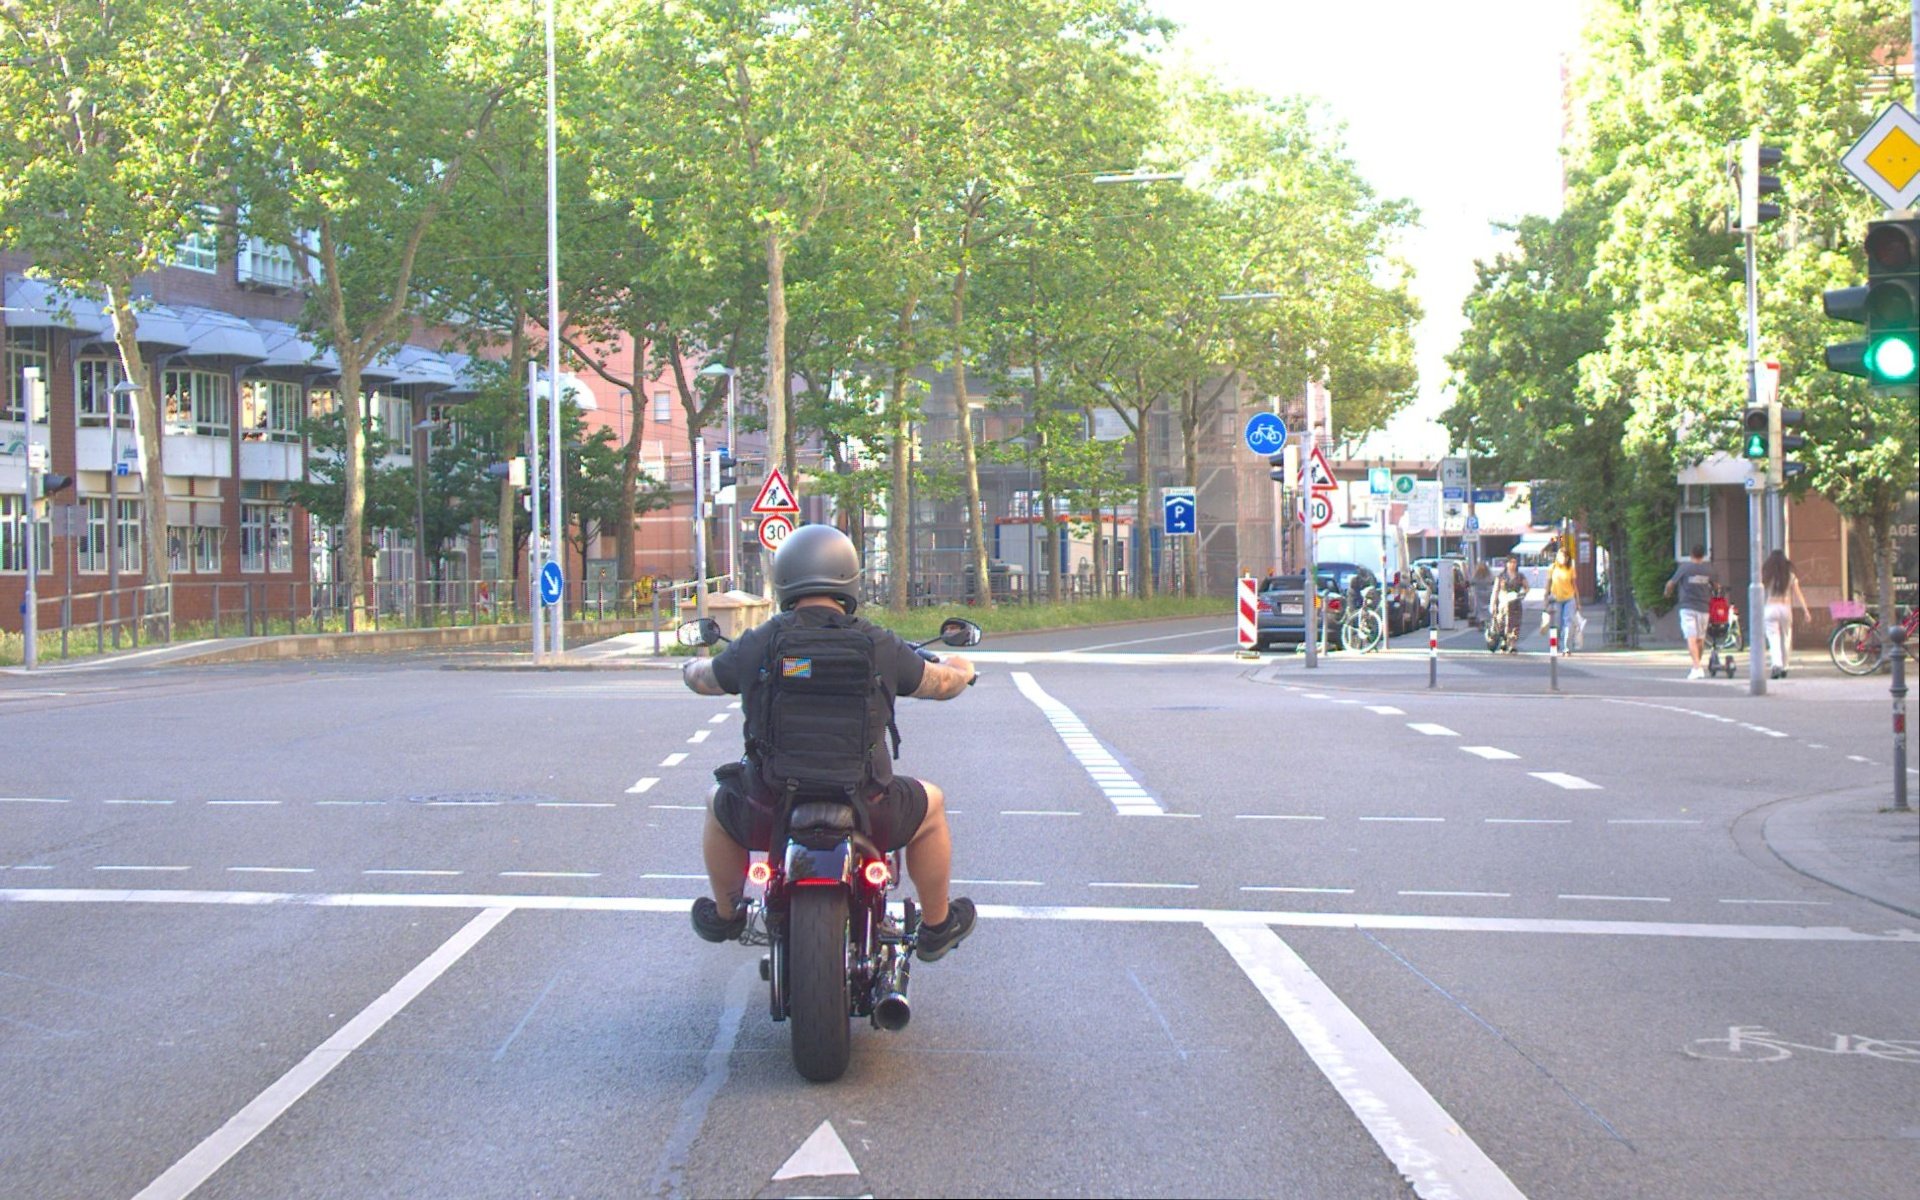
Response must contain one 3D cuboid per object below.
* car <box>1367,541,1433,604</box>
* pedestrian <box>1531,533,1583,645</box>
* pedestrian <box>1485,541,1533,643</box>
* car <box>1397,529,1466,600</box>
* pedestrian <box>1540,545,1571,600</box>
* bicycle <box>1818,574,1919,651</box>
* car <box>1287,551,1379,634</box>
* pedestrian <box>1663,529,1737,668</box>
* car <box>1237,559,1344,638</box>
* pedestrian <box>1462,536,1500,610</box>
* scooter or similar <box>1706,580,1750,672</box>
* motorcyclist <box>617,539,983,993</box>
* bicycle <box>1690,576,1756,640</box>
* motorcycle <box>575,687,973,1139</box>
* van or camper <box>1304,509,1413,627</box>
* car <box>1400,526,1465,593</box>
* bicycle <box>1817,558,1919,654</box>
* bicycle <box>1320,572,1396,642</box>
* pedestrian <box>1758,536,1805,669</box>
[{"bbox_3d":[11.536,-0.733,90.014,1.621,1.604,3.773,-1,1,8],"label":"car"},{"bbox_3d":[9.286,-0.174,53.511,0.700,1.727,0.767,-1,1,4],"label":"pedestrian"},{"bbox_3d":[8.567,-0.125,53.678,0.644,1.573,0.748,-1,1,4],"label":"pedestrian"},{"bbox_3d":[13.819,-1.060,100.587,1.836,2.007,4.386,-1,1,9],"label":"car"},{"bbox_3d":[15.604,-0.719,90.077,0.765,1.440,0.780,0,0,9],"label":"pedestrian"},{"bbox_3d":[12.903,0.176,47.796,1.749,1.049,0.738,0,1,28],"label":"bicycle"},{"bbox_3d":[7.726,-0.177,70.955,1.621,1.614,4.483,-1,1,10],"label":"car"},{"bbox_3d":[9.504,-0.023,44.176,0.785,1.757,0.610,-1,1,-2],"label":"pedestrian"},{"bbox_3d":[5.876,-0.046,60.811,1.621,1.298,4.310,-1,1,9],"label":"car"},{"bbox_3d":[11.626,-0.605,76.733,0.762,1.639,0.547,-1,1,3],"label":"pedestrian"},{"bbox_3d":[9.900,0.324,44.316,0.394,1.154,1.249,-1,1,6],"label":"scooter or similar"},{"bbox_3d":[-0.452,0.464,10.125,1.011,1.258,0.774,1,1,0],"label":"motorcyclist"},{"bbox_3d":[11.764,0.112,53.035,0.737,0.936,1.752,-1,1,4],"label":"bicycle"},{"bbox_3d":[-0.487,0.850,10.056,1.018,1.093,2.008,-1,1,1],"label":"motorcycle"},{"bbox_3d":[9.005,-0.745,77.360,2.049,2.532,5.771,-1,1,10],"label":"van or camper"},{"bbox_3d":[14.666,-1.265,106.612,1.836,2.007,4.386,-1,1,9],"label":"car"},{"bbox_3d":[12.005,0.077,44.772,1.567,1.223,0.577,-1,1,6],"label":"bicycle"},{"bbox_3d":[6.234,0.103,53.920,0.737,1.049,1.752,-1,1,-9],"label":"bicycle"},{"bbox_3d":[10.452,0.024,43.749,0.459,1.667,0.680,-1,1,6],"label":"pedestrian"}]
